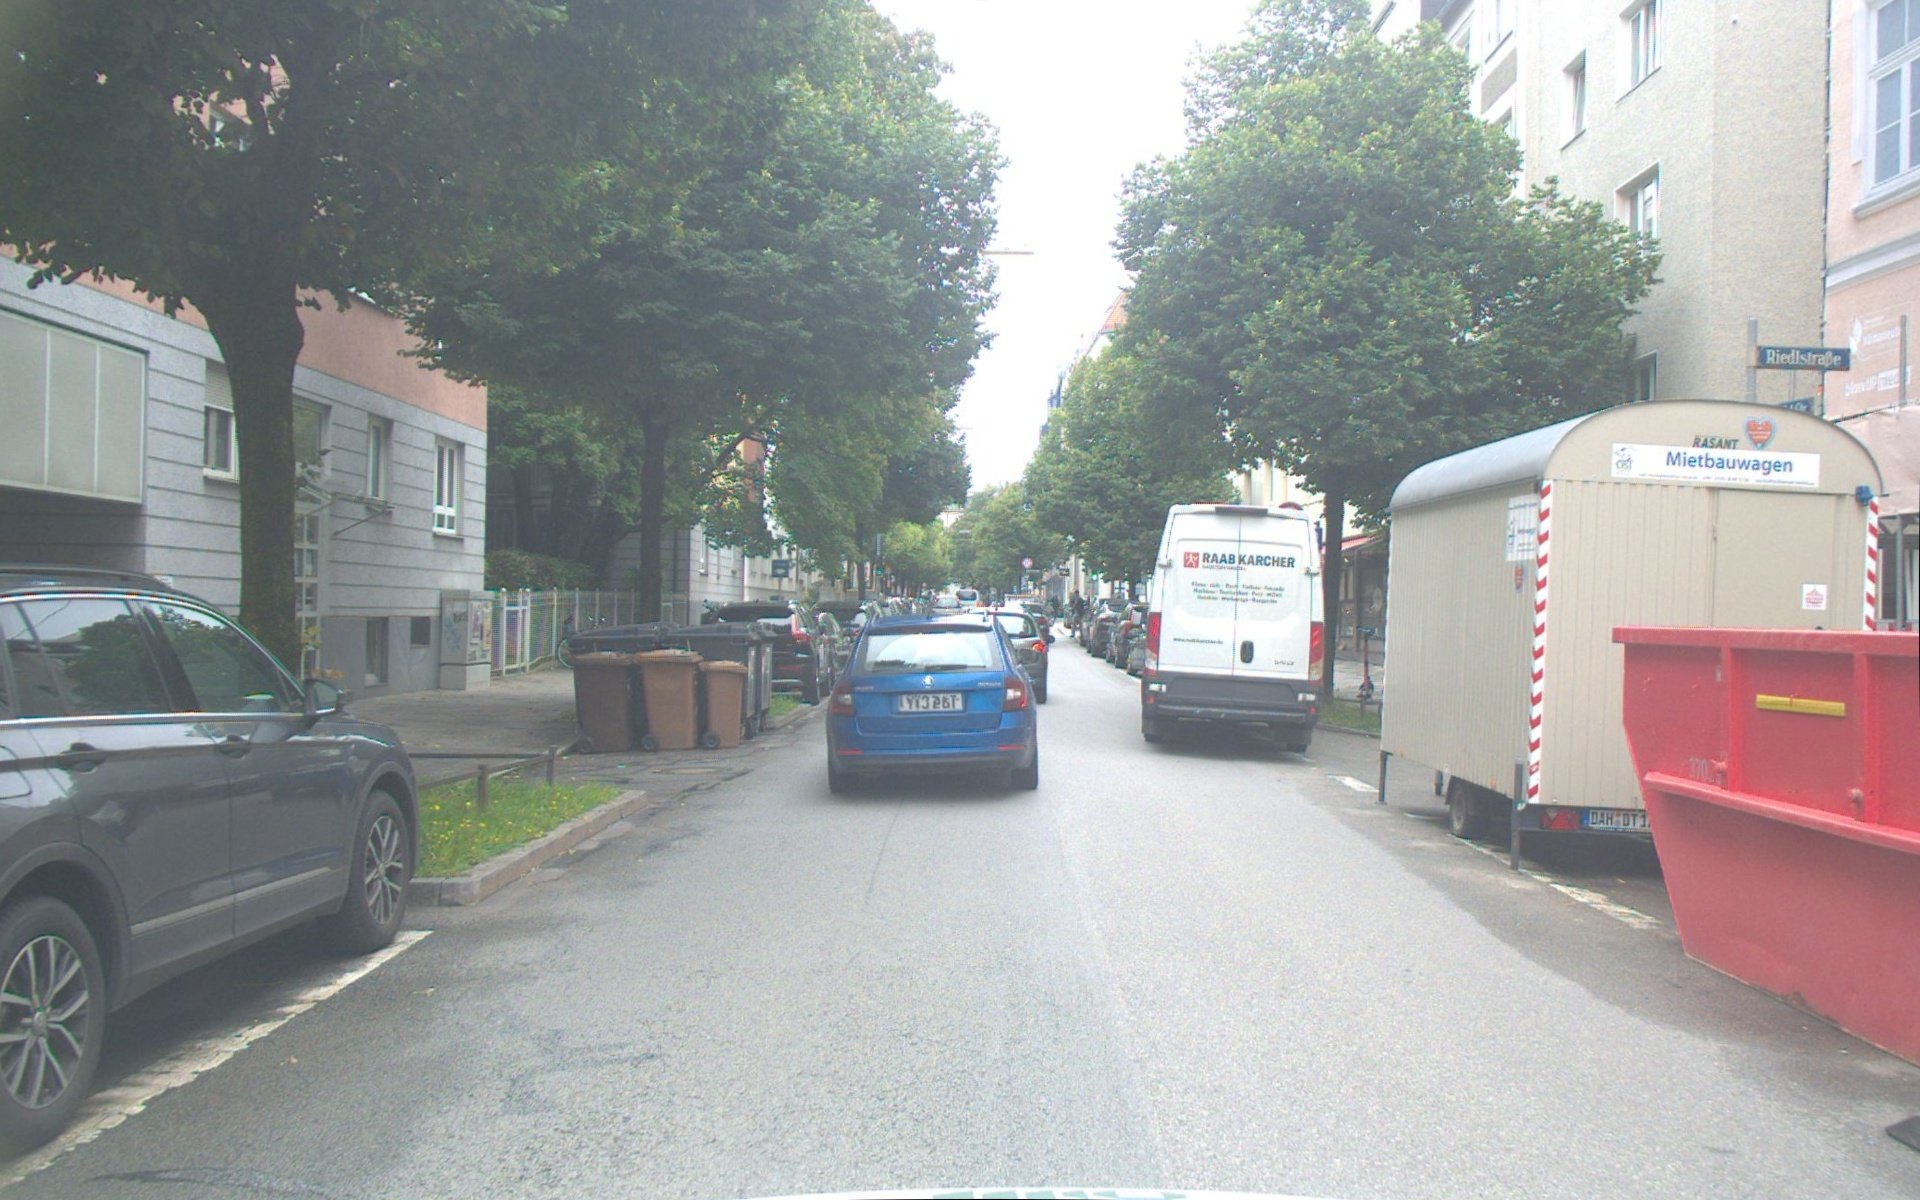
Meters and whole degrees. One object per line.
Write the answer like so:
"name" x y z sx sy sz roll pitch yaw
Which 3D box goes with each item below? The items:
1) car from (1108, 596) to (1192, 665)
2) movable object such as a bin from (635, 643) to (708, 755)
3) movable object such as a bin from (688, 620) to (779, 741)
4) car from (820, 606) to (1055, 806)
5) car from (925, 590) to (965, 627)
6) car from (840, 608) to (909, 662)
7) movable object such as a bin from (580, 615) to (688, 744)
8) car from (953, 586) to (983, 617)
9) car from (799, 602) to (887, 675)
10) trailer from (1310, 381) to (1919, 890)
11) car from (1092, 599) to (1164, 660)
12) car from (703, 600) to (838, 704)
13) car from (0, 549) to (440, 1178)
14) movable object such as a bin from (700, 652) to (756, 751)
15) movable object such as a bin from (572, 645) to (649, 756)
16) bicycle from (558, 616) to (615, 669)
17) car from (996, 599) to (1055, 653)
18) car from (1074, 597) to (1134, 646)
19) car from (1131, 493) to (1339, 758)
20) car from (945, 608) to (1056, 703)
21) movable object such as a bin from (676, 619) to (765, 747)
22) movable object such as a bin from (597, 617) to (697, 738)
"car" 5.003 0.774 44.016 1.788 1.757 4.000 0 0 0
"movable object such as a bin" -3.148 1.074 18.102 0.697 1.168 0.636 -1 0 -3
"movable object such as a bin" -2.738 0.958 20.116 1.000 1.401 1.103 -1 0 -4
"car" -0.157 0.819 14.593 1.752 1.486 4.314 1 -1 0
"car" -0.727 0.402 83.051 1.829 1.726 4.348 2 0 1
"car" -2.531 1.020 49.612 1.775 1.504 4.000 2 0 1
"movable object such as a bin" -3.711 0.884 18.936 1.060 1.401 1.083 -1 0 -4
"car" 0.533 0.101 108.145 1.829 1.902 4.346 2 0 -1
"car" -2.598 0.835 37.572 1.775 1.504 3.999 2 0 -1
"trailer" 4.747 0.261 13.115 2.451 2.889 6.901 2 -1 1
"car" 5.058 0.870 50.233 1.788 1.757 4.000 0 0 0
"car" -2.999 0.783 26.840 1.775 1.504 3.999 2 0 -1
"car" -3.373 0.701 5.709 1.748 1.657 4.185 0 0 1
"movable object such as a bin" -2.543 1.107 18.162 0.535 1.038 0.636 -1 0 -3
"movable object such as a bin" -3.803 1.085 18.047 0.706 1.158 0.658 -1 0 -3
"bicycle" -7.927 0.887 35.209 0.621 1.086 2.388 0 0 1
"car" 2.235 0.851 57.442 1.829 1.726 4.347 2 0 0
"car" 4.968 0.730 57.336 1.742 1.612 4.000 0 0 0
"car" 3.203 0.312 20.213 2.068 2.710 5.503 2 -1 6
"car" 0.696 0.879 27.364 1.705 1.447 3.665 0 -1 2
"movable object such as a bin" -2.736 0.936 19.018 0.900 1.401 1.079 -1 0 -4
"movable object such as a bin" -3.773 0.915 20.036 1.036 1.401 1.095 -1 0 -4
